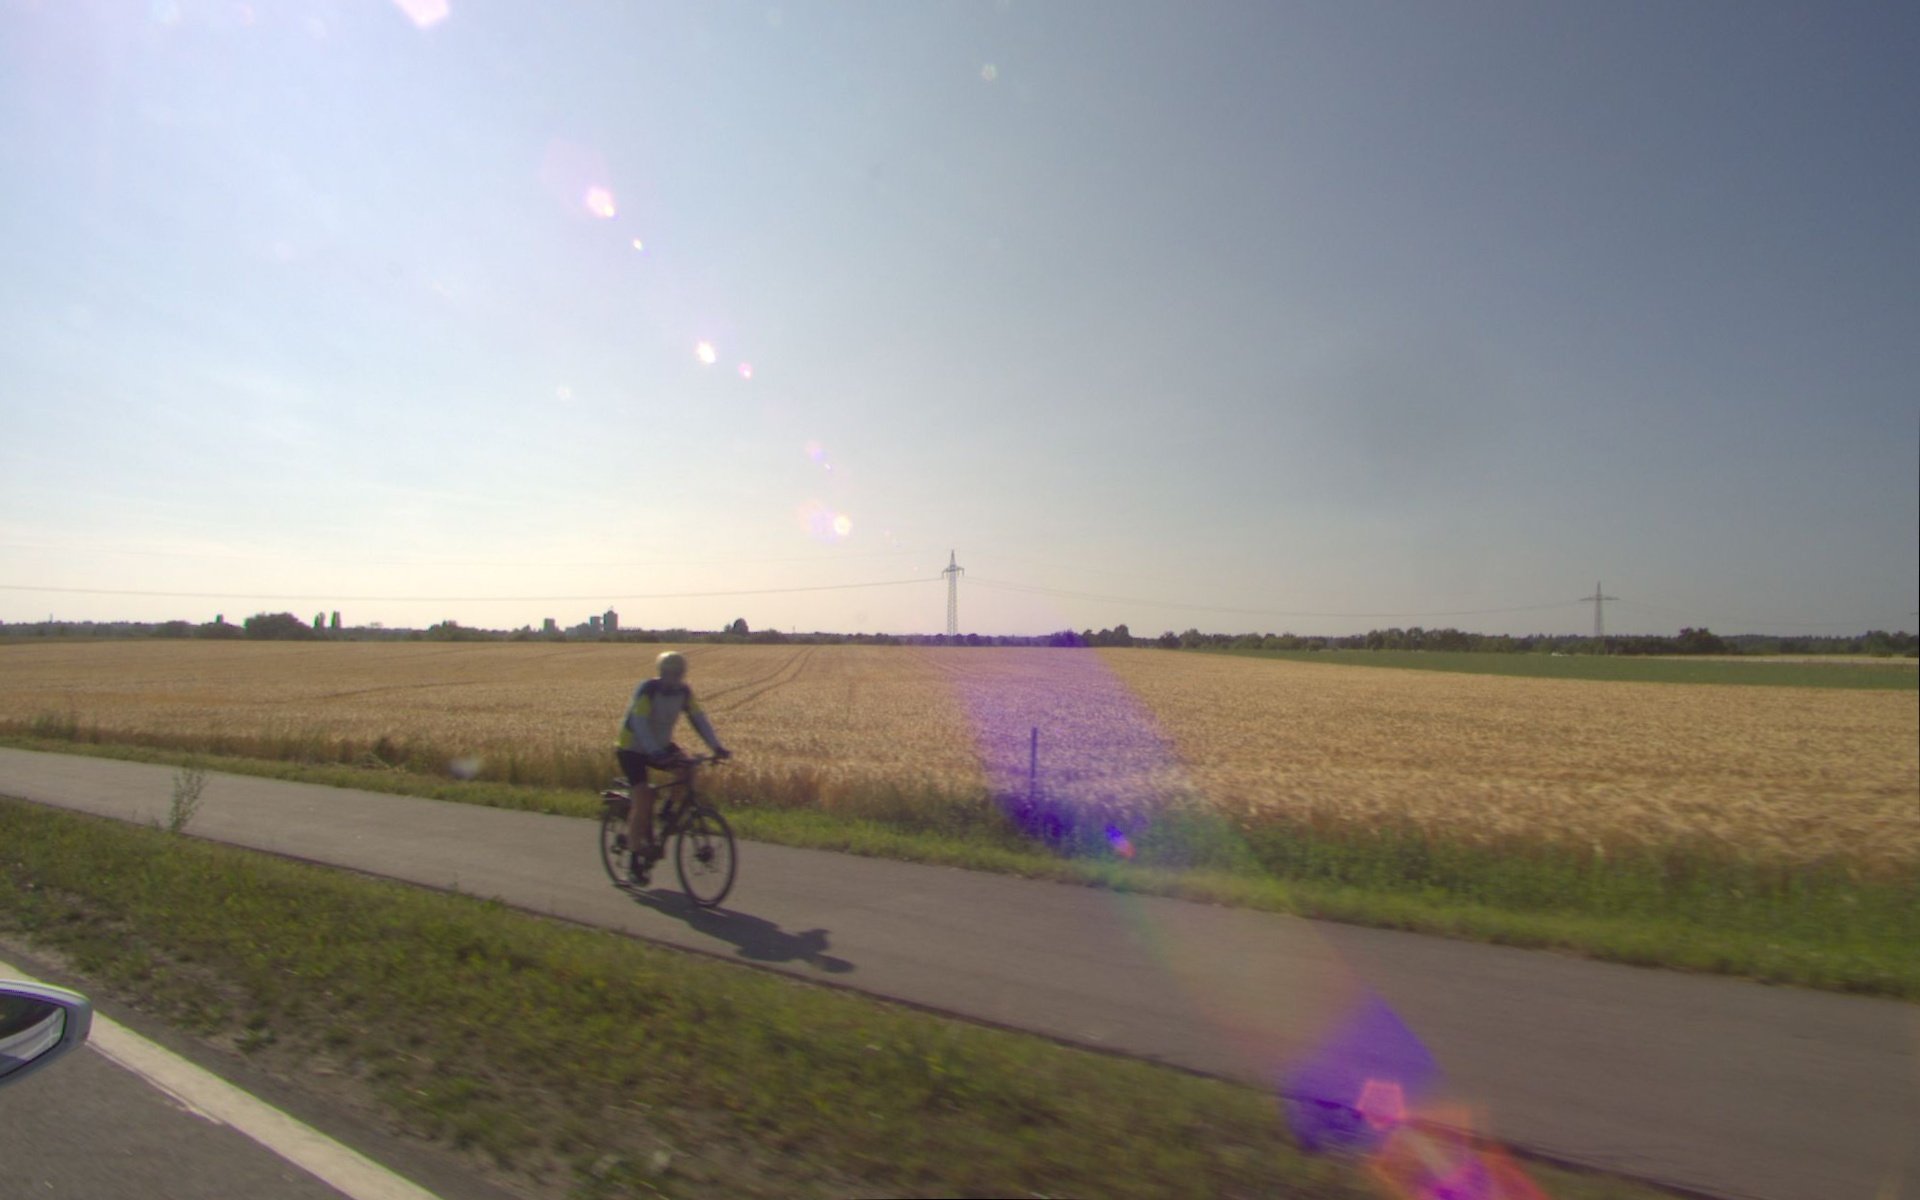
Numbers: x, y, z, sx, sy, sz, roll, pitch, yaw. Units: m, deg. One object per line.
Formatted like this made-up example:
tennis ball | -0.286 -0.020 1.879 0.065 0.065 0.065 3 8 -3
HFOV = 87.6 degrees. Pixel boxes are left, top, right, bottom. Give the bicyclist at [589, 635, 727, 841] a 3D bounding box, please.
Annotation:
bicyclist | -2.326 1.025 7.716 0.807 1.474 0.635 -2 -4 39

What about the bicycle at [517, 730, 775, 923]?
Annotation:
bicycle | -2.487 1.657 7.784 2.181 1.155 0.842 -2 -5 40
